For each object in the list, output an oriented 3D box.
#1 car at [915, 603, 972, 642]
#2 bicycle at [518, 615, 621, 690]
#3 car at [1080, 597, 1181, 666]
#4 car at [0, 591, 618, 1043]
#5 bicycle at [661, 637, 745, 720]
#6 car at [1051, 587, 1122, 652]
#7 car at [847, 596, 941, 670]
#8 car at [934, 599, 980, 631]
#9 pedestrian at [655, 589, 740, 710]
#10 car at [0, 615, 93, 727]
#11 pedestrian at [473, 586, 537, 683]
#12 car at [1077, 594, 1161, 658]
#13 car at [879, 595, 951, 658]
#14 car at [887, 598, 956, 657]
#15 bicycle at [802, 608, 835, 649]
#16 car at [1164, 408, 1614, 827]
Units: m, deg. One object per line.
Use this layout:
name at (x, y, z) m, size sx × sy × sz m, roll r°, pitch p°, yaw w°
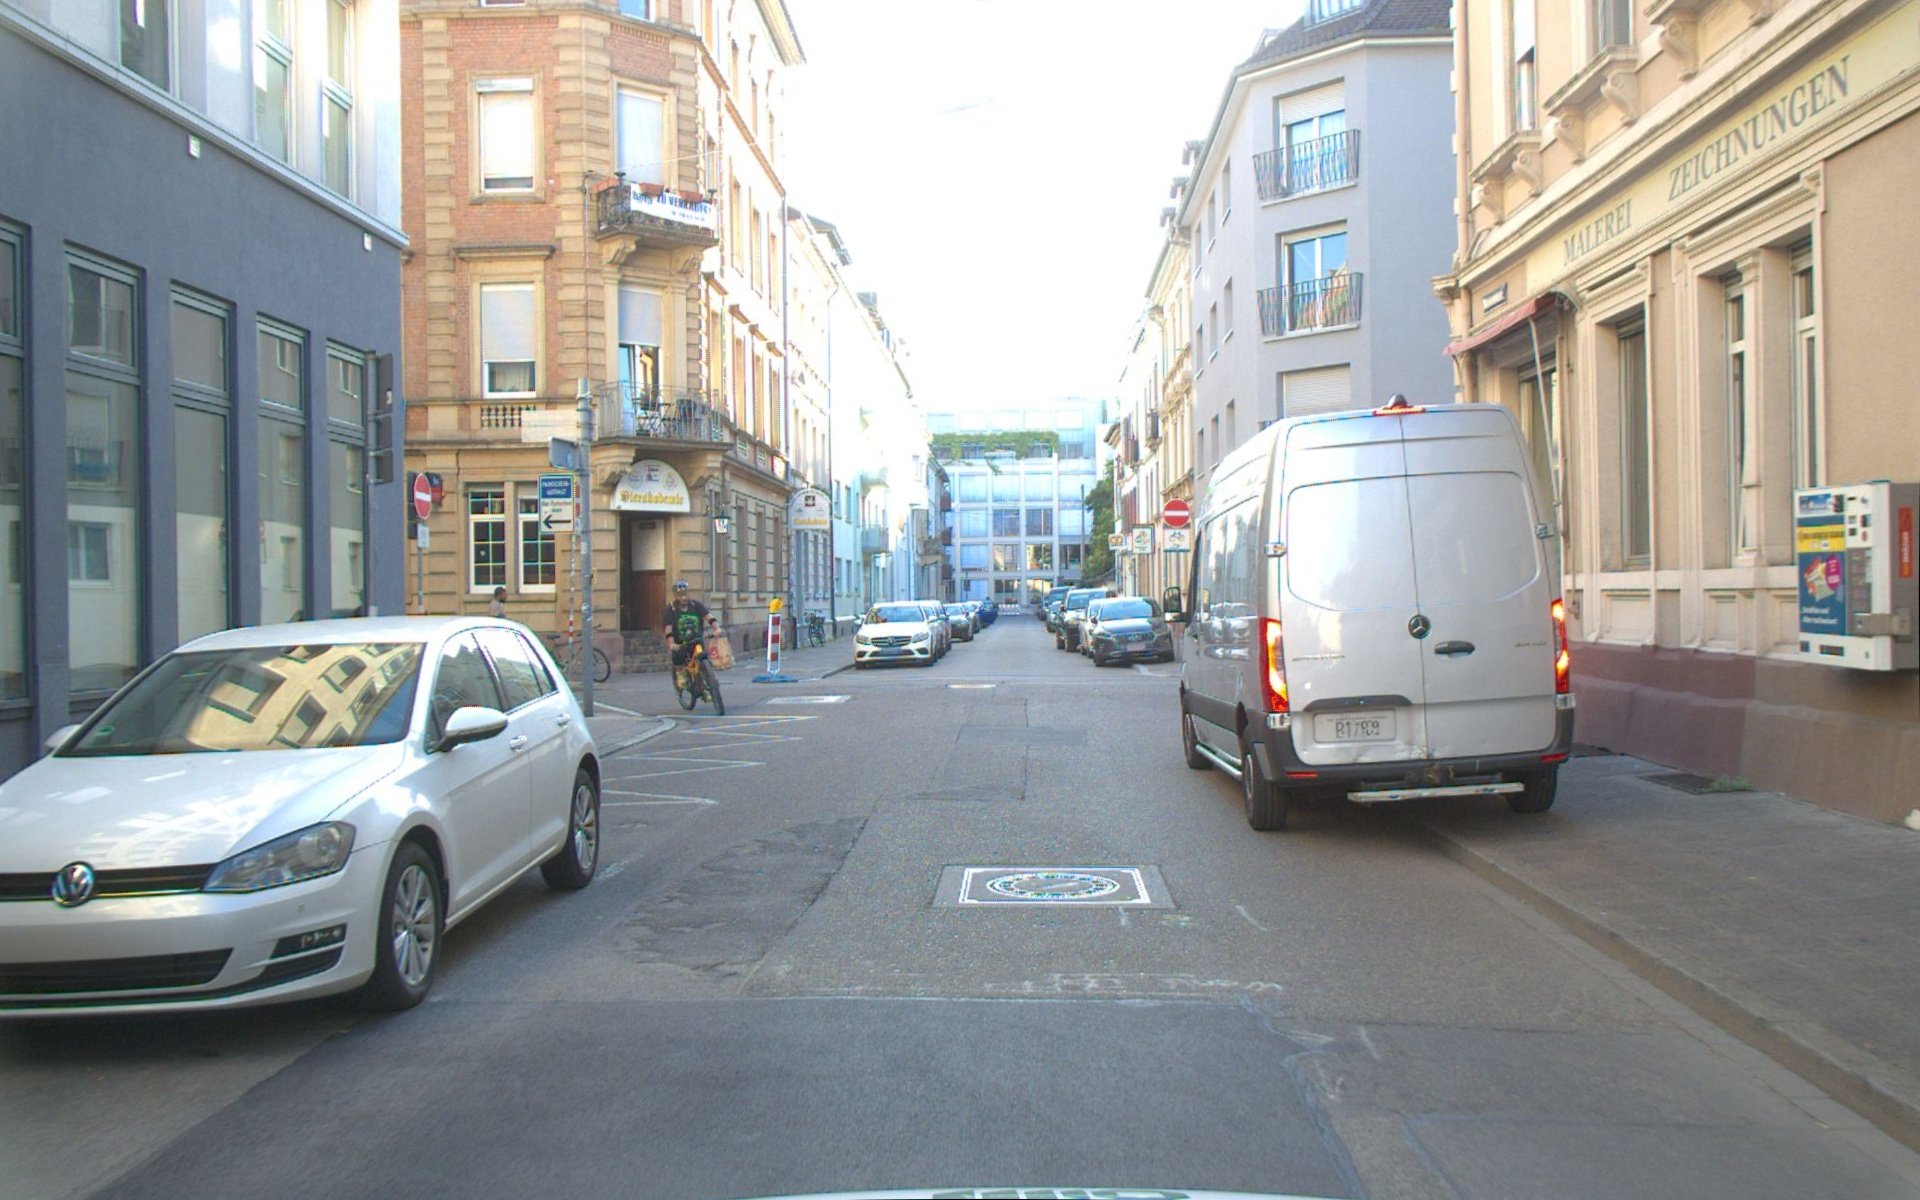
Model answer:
car at (-0.580, 0.811, 61.750) m, size 1.952 × 1.378 × 4.430 m, roll -1°, pitch 0°, yaw 2°
bicycle at (-7.195, 0.954, 30.503) m, size 1.722 × 1.297 × 0.661 m, roll -1°, pitch 3°, yaw -2°
car at (3.818, 0.680, 37.575) m, size 1.898 × 1.396 × 3.789 m, roll -3°, pitch 0°, yaw 1°
car at (-2.773, 0.715, 7.283) m, size 1.623 × 1.438 × 3.883 m, roll -1°, pitch 0°, yaw 1°
bicycle at (-3.472, 1.023, 22.189) m, size 0.531 × 1.025 × 1.964 m, roll -1°, pitch 0°, yaw -27°
car at (3.709, 0.548, 49.080) m, size 1.854 × 1.815 × 4.001 m, roll -1°, pitch 0°, yaw 1°
car at (-1.490, 0.731, 38.840) m, size 1.952 × 1.591 × 4.506 m, roll -1°, pitch 0°, yaw 0°
car at (-0.129, 0.714, 79.523) m, size 2.128 × 1.443 × 4.000 m, roll -1°, pitch 0°, yaw 0°
pedestrian at (-3.529, 0.643, 22.170) m, size 0.819 × 1.572 × 1.073 m, roll -1°, pitch 0°, yaw -27°
car at (-15.383, 1.045, 24.496) m, size 4.018 × 1.551 × 2.015 m, roll -1°, pitch 0°, yaw 2°
pedestrian at (-8.488, 0.638, 30.889) m, size 0.994 × 1.772 × 0.983 m, roll 0°, pitch 0°, yaw -6°
car at (4.145, 0.651, 43.641) m, size 1.923 × 1.584 × 3.889 m, roll -1°, pitch 0°, yaw 2°
car at (-1.163, 0.675, 44.498) m, size 1.591 × 1.604 × 3.756 m, roll -1°, pitch 0°, yaw 3°
car at (-1.122, 0.801, 50.241) m, size 1.748 × 1.688 × 3.818 m, roll -1°, pitch 0°, yaw 3°
bicycle at (-4.299, 0.847, 50.350) m, size 0.722 × 1.181 × 2.462 m, roll 0°, pitch 0°, yaw 2°
car at (2.953, 0.106, 13.037) m, size 2.229 × 2.482 × 6.206 m, roll -1°, pitch 0°, yaw 3°
